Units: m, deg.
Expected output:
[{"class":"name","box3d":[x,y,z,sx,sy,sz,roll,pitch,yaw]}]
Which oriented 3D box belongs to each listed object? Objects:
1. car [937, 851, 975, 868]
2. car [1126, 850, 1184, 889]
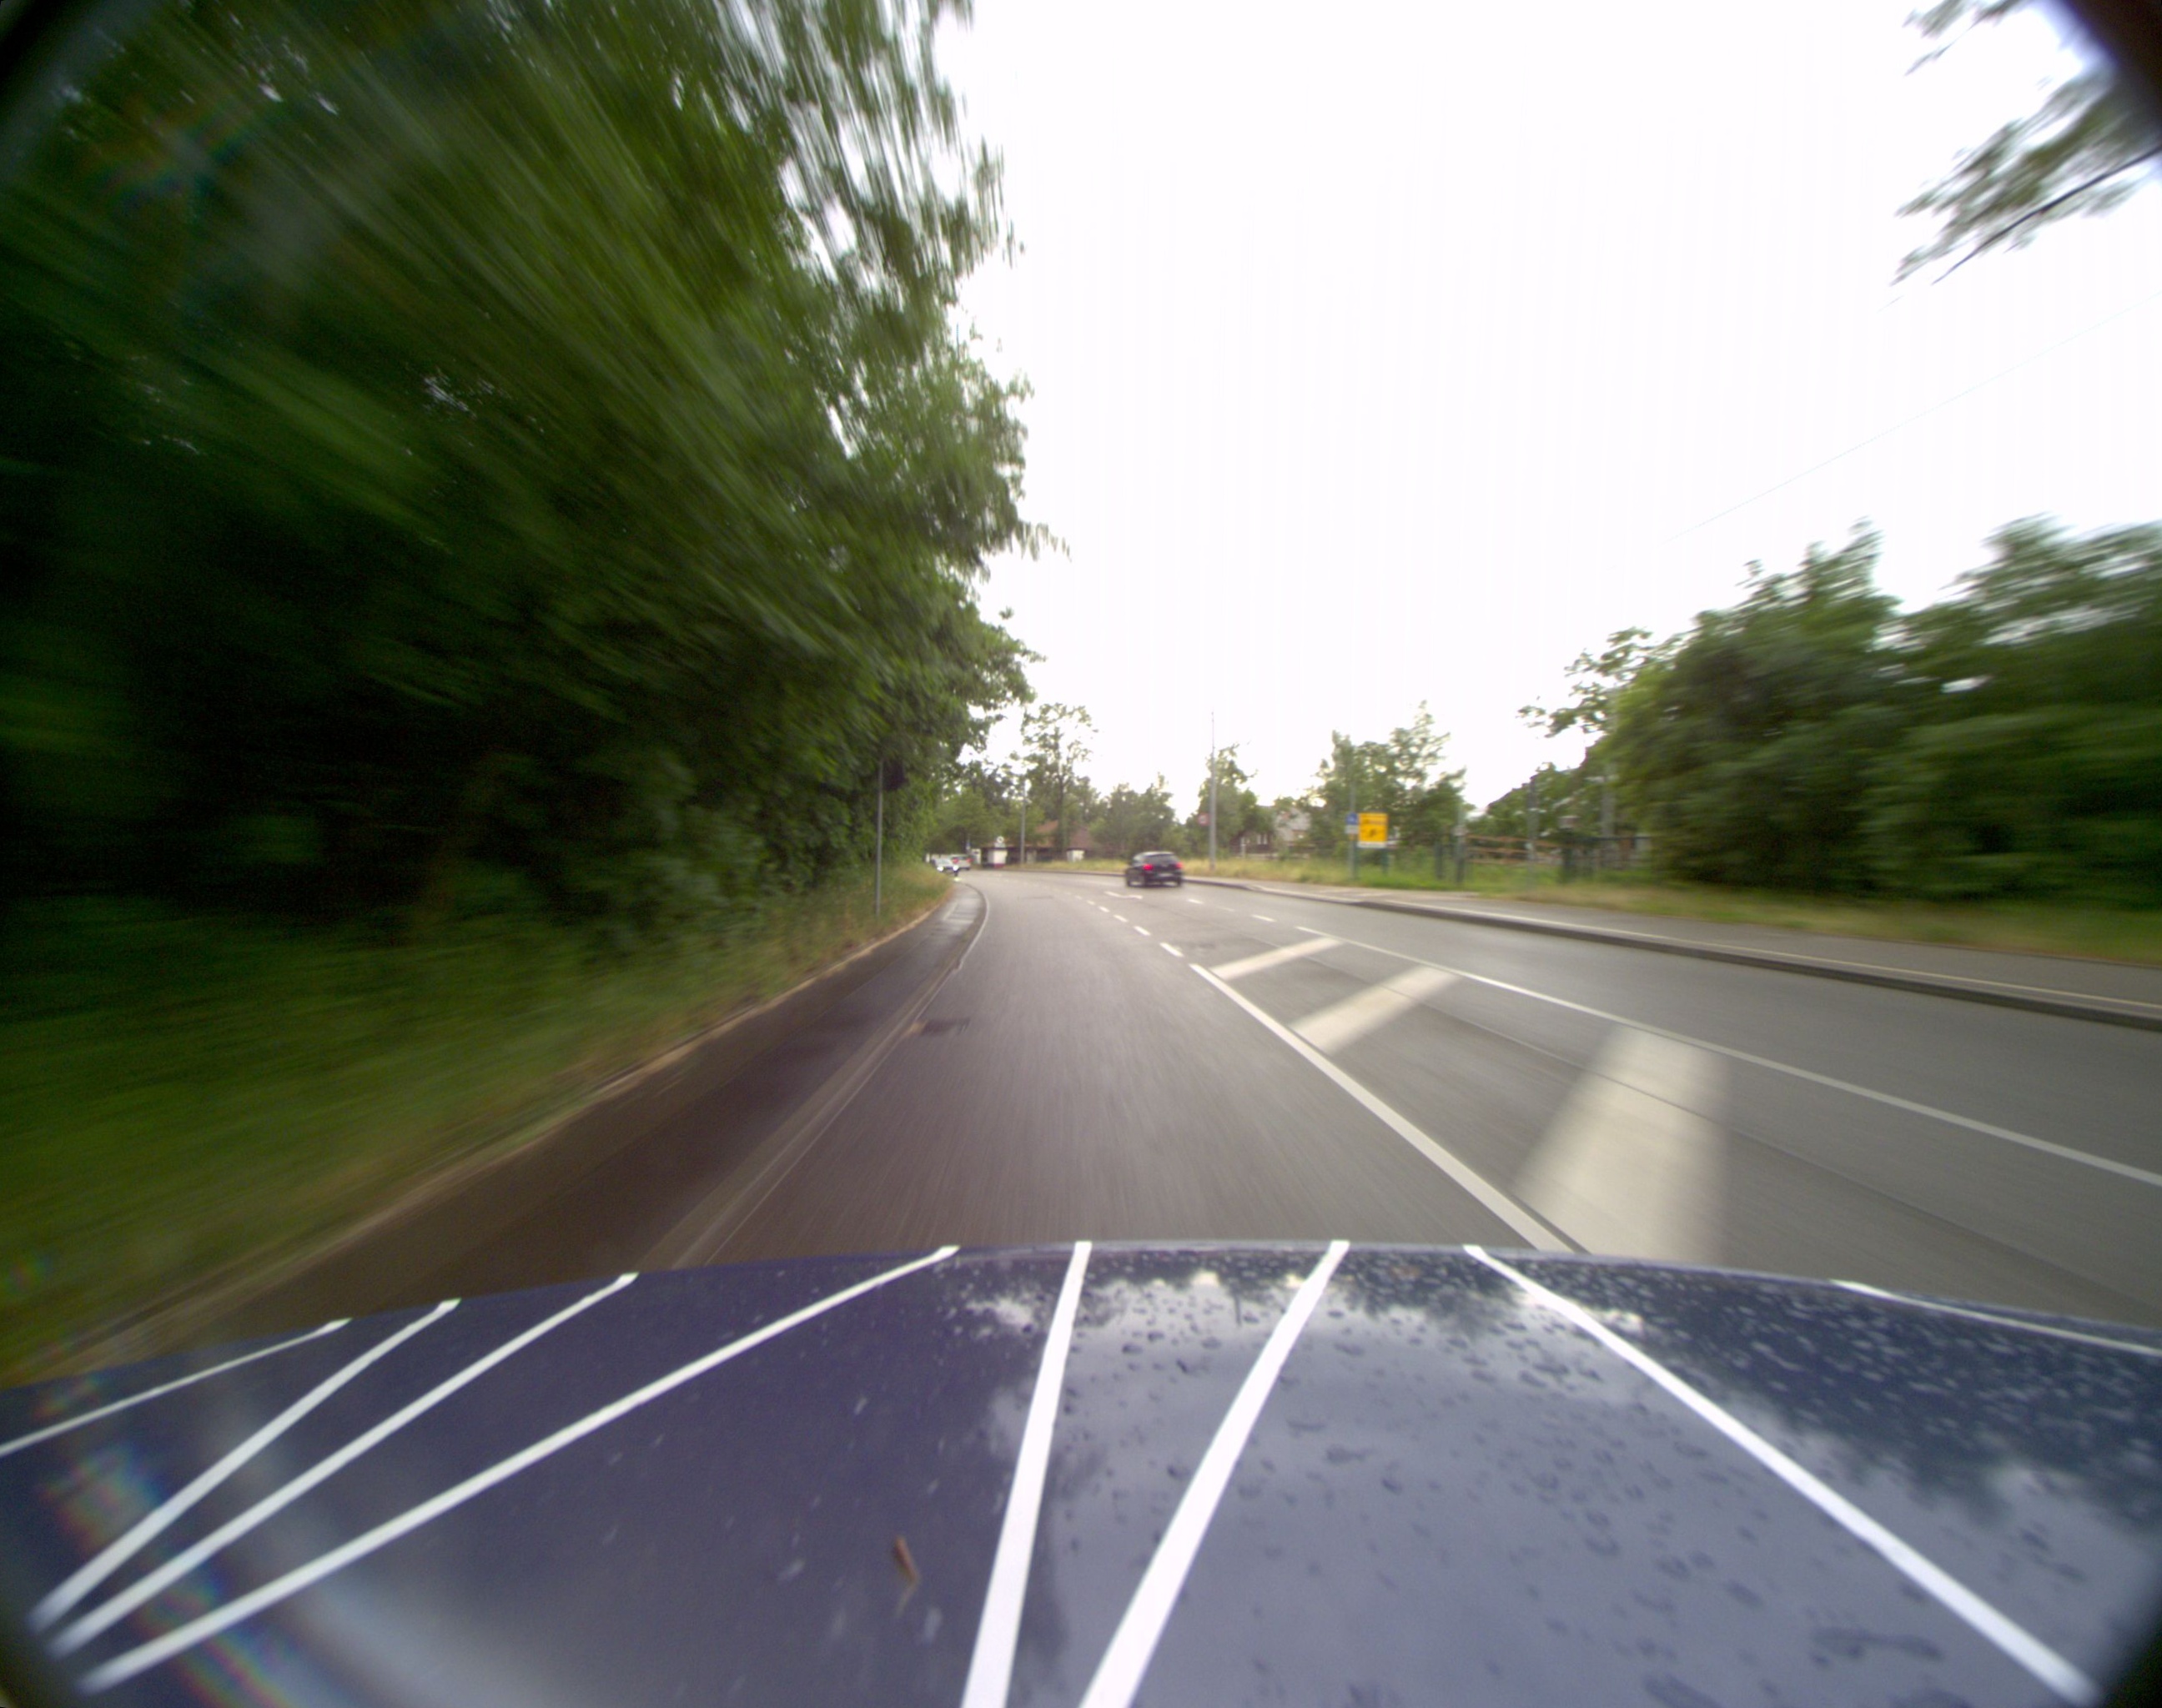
[{"class":"car","box3d":[-12.720,0.525,77.212,1.768,1.605,4.406,-3,1,-39]},{"class":"car","box3d":[3.078,0.615,32.184,1.599,1.468,3.790,-2,0,-7]}]
